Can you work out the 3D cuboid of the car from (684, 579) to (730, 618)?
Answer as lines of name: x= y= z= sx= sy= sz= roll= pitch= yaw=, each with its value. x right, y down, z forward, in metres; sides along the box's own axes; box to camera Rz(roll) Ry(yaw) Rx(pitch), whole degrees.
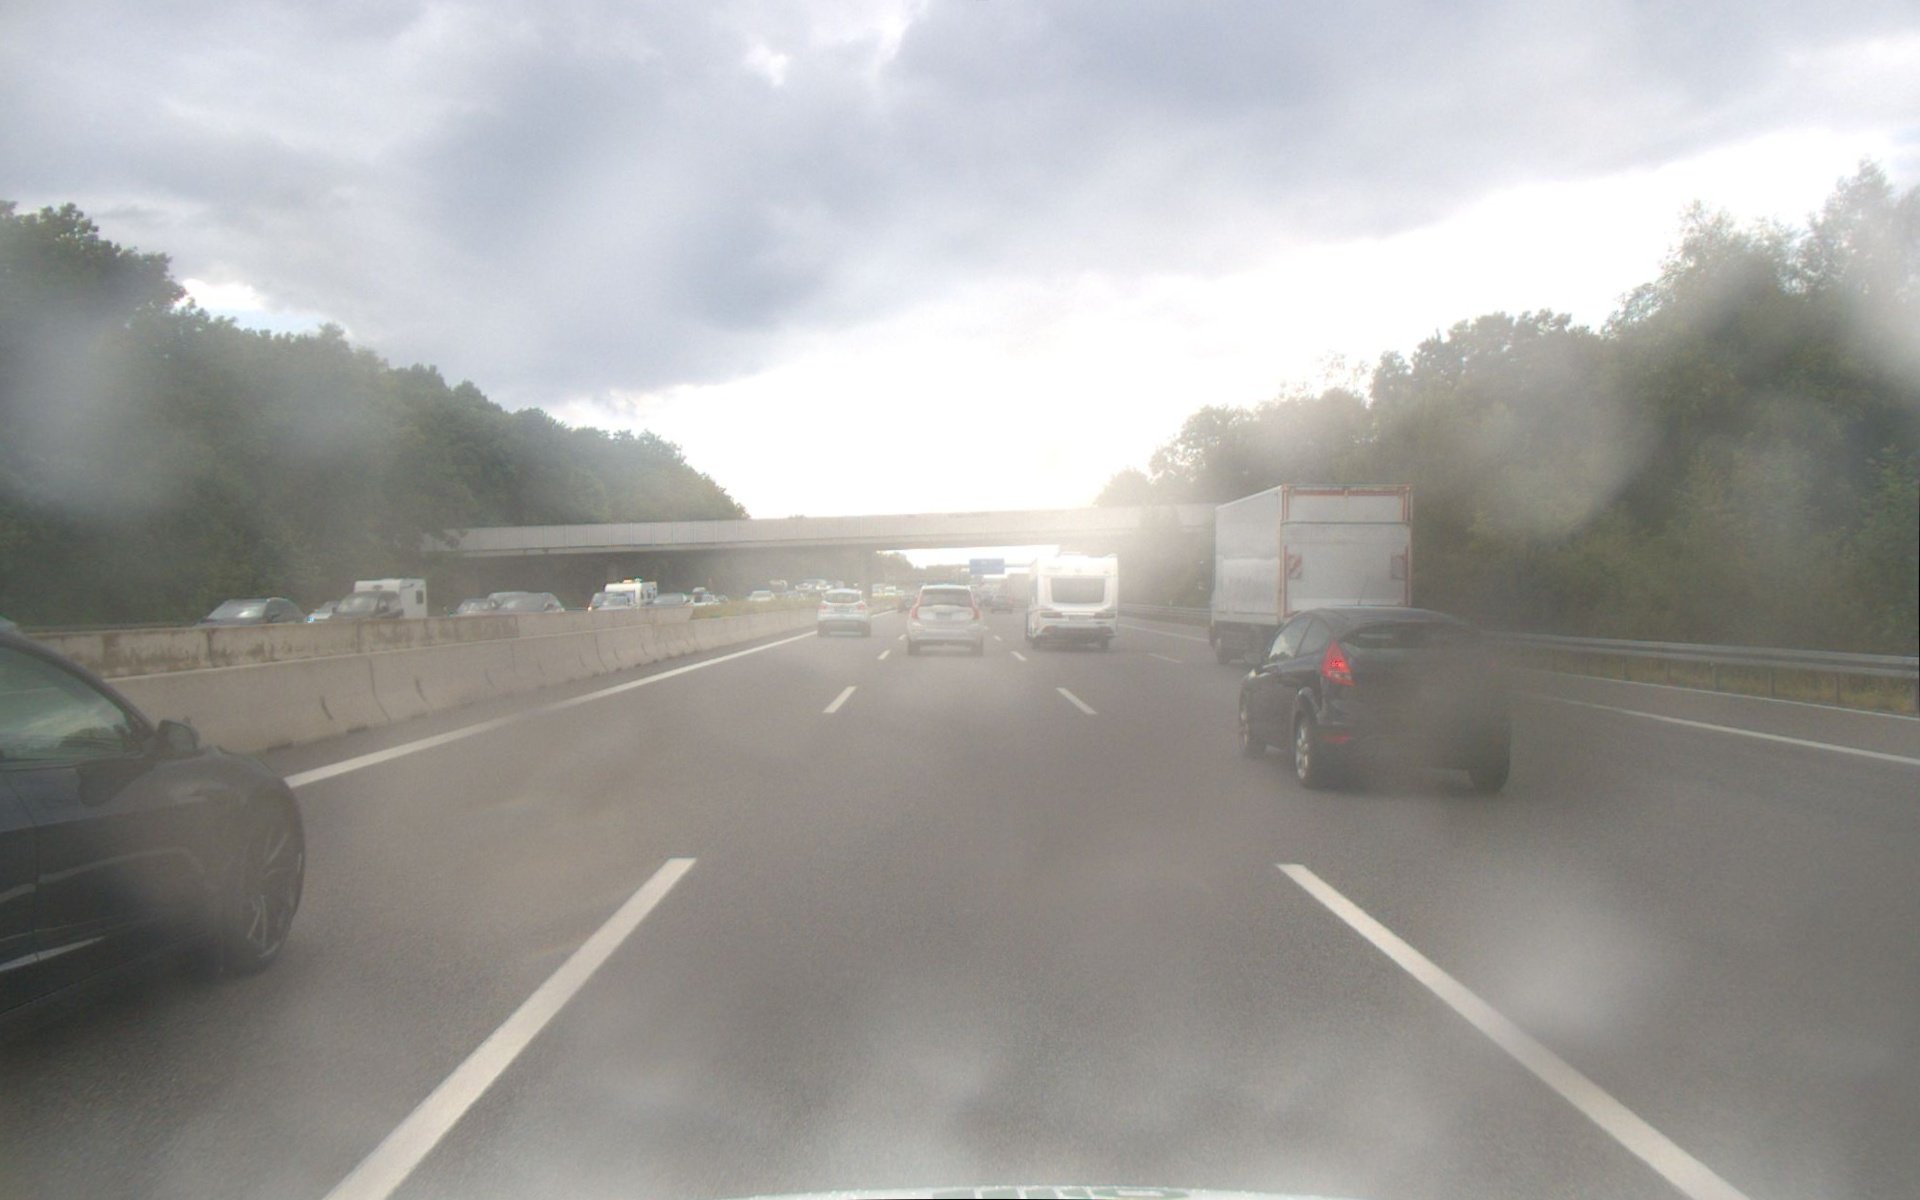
car: x=-14.835 y=-0.087 z=97.224 sx=1.953 sy=2.219 sz=5.289 roll=0 pitch=0 yaw=-1

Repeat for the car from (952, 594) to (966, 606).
car: x=-0.213 y=0.036 z=246.425 sx=1.844 sy=1.715 sz=3.997 roll=0 pitch=0 yaw=-4

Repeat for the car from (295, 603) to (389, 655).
car: x=-25.465 y=1.159 z=68.365 sx=1.953 sy=1.986 sz=5.224 roll=0 pitch=0 yaw=-1

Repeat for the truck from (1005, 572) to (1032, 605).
truck: x=6.926 y=-1.353 z=197.381 sx=2.846 sy=3.876 sz=7.273 roll=0 pitch=0 yaw=-1

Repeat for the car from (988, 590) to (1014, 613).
car: x=3.348 y=0.125 z=136.003 sx=2.002 sy=1.855 sz=4.903 roll=0 pitch=0 yaw=-1

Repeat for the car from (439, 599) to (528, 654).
car: x=-18.370 y=0.990 z=64.040 sx=1.953 sy=1.986 sz=5.224 roll=0 pitch=0 yaw=-1

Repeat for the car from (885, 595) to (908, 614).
car: x=-5.134 y=0.372 z=134.797 sx=1.744 sy=1.507 sz=4.352 roll=0 pitch=0 yaw=-1

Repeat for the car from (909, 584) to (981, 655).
car: x=-0.376 y=0.469 z=42.827 sx=1.744 sy=1.746 sz=4.352 roll=0 pitch=0 yaw=0

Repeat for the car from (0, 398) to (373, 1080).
car: x=-3.590 y=0.372 z=4.868 sx=1.953 sy=1.852 sz=5.162 roll=0 pitch=0 yaw=-1

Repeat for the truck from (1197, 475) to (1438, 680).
truck: x=7.333 y=-0.453 z=35.566 sx=3.069 sy=3.774 sz=9.847 roll=0 pitch=0 yaw=0

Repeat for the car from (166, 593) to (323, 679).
car: x=-18.162 y=0.849 z=42.231 sx=1.953 sy=2.049 sz=4.764 roll=0 pitch=0 yaw=0

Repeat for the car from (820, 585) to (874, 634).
car: x=-4.078 y=0.305 z=60.425 sx=1.778 sy=1.719 sz=4.851 roll=0 pitch=1 yaw=-2

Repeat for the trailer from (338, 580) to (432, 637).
trailer: x=-25.522 y=0.340 z=73.696 sx=2.196 sy=2.416 sz=5.783 roll=0 pitch=0 yaw=-1

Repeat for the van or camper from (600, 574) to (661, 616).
van or camper: x=-22.304 y=-0.335 z=112.321 sx=2.552 sy=2.754 sz=8.124 roll=0 pitch=0 yaw=0

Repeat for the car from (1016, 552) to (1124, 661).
car: x=3.119 y=0.156 z=48.697 sx=2.515 sy=2.946 sz=7.532 roll=0 pitch=0 yaw=-1

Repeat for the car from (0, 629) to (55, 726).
car: x=-21.413 y=1.673 z=34.539 sx=2.196 sy=1.986 sz=5.224 roll=0 pitch=0 yaw=-1

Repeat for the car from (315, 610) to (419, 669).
car: x=-21.692 y=1.404 z=60.697 sx=1.953 sy=1.986 sz=5.224 roll=0 pitch=0 yaw=-1

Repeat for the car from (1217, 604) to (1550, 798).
car: x=3.558 y=0.777 z=14.727 sx=1.846 sy=1.431 sz=4.282 roll=0 pitch=0 yaw=0

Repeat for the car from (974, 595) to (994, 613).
car: x=2.550 y=0.438 z=178.704 sx=2.002 sy=1.855 sz=4.903 roll=0 pitch=0 yaw=-1
